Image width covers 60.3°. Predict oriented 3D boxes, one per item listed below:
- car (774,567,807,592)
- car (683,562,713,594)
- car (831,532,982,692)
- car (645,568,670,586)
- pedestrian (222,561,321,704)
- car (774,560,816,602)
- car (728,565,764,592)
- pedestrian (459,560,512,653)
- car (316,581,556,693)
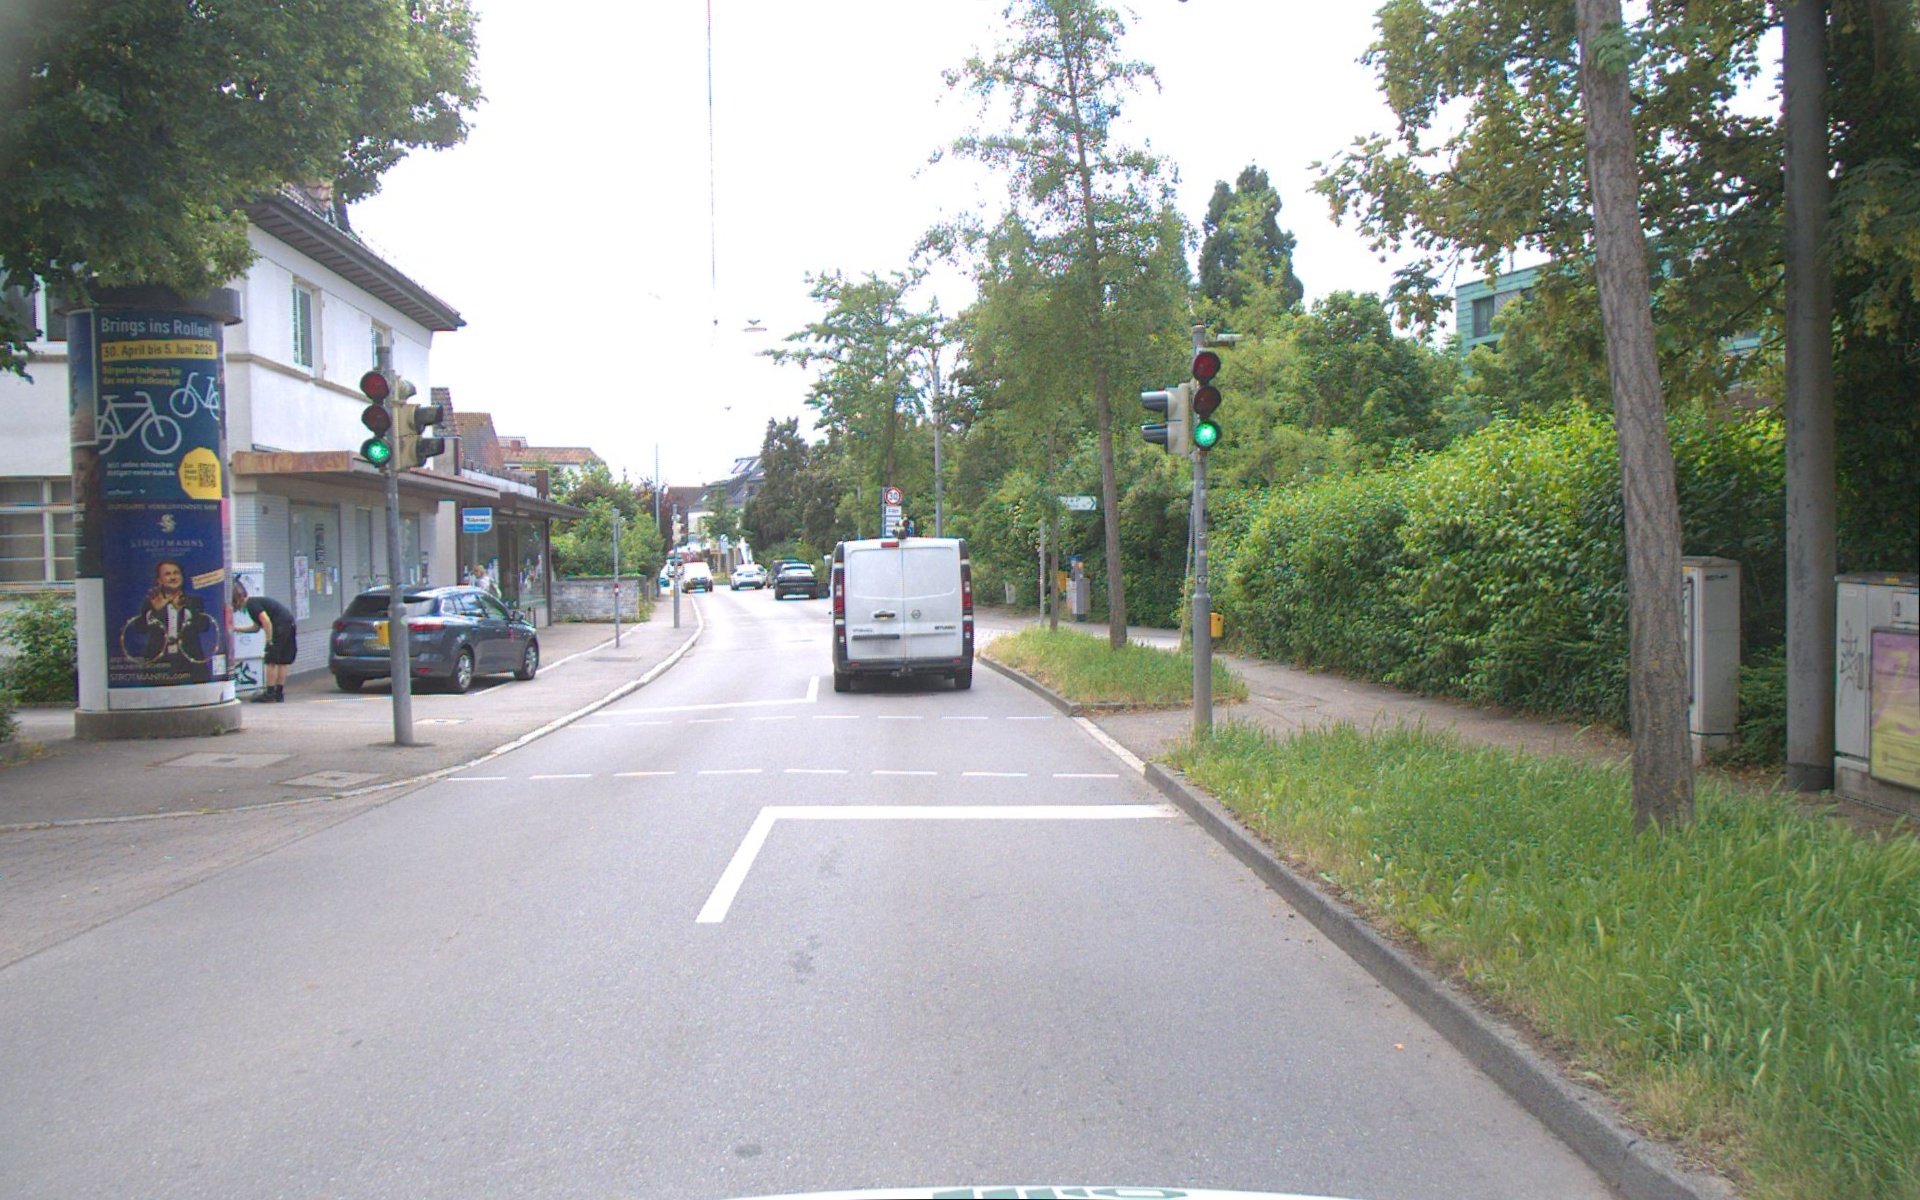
[{"bbox_3d":[-11.524,-1.413,112.355,1.860,1.639,4.489,0,1,-11],"label":"car"},{"bbox_3d":[-17.695,-1.501,111.692,1.833,1.944,5.105,-3,2,-9],"label":"car"},{"bbox_3d":[-0.790,0.116,22.967,1.891,1.998,4.399,0,1,-3],"label":"car"},{"bbox_3d":[-26.648,-2.035,145.397,1.852,1.538,4.098,-3,2,-14],"label":"car"},{"bbox_3d":[-8.621,0.387,20.730,0.867,1.748,0.761,1,1,12],"label":"pedestrian"},{"bbox_3d":[-7.641,-0.902,77.018,1.859,1.892,4.400,0,1,-5],"label":"car"},{"bbox_3d":[-14.304,-1.434,110.447,1.796,1.758,3.981,-1,1,-17],"label":"car"},{"bbox_3d":[-9.289,0.120,32.430,0.866,1.781,0.962,1,0,-9],"label":"pedestrian"},{"bbox_3d":[-7.580,0.492,24.413,1.742,1.466,4.528,1,0,5],"label":"car"}]
